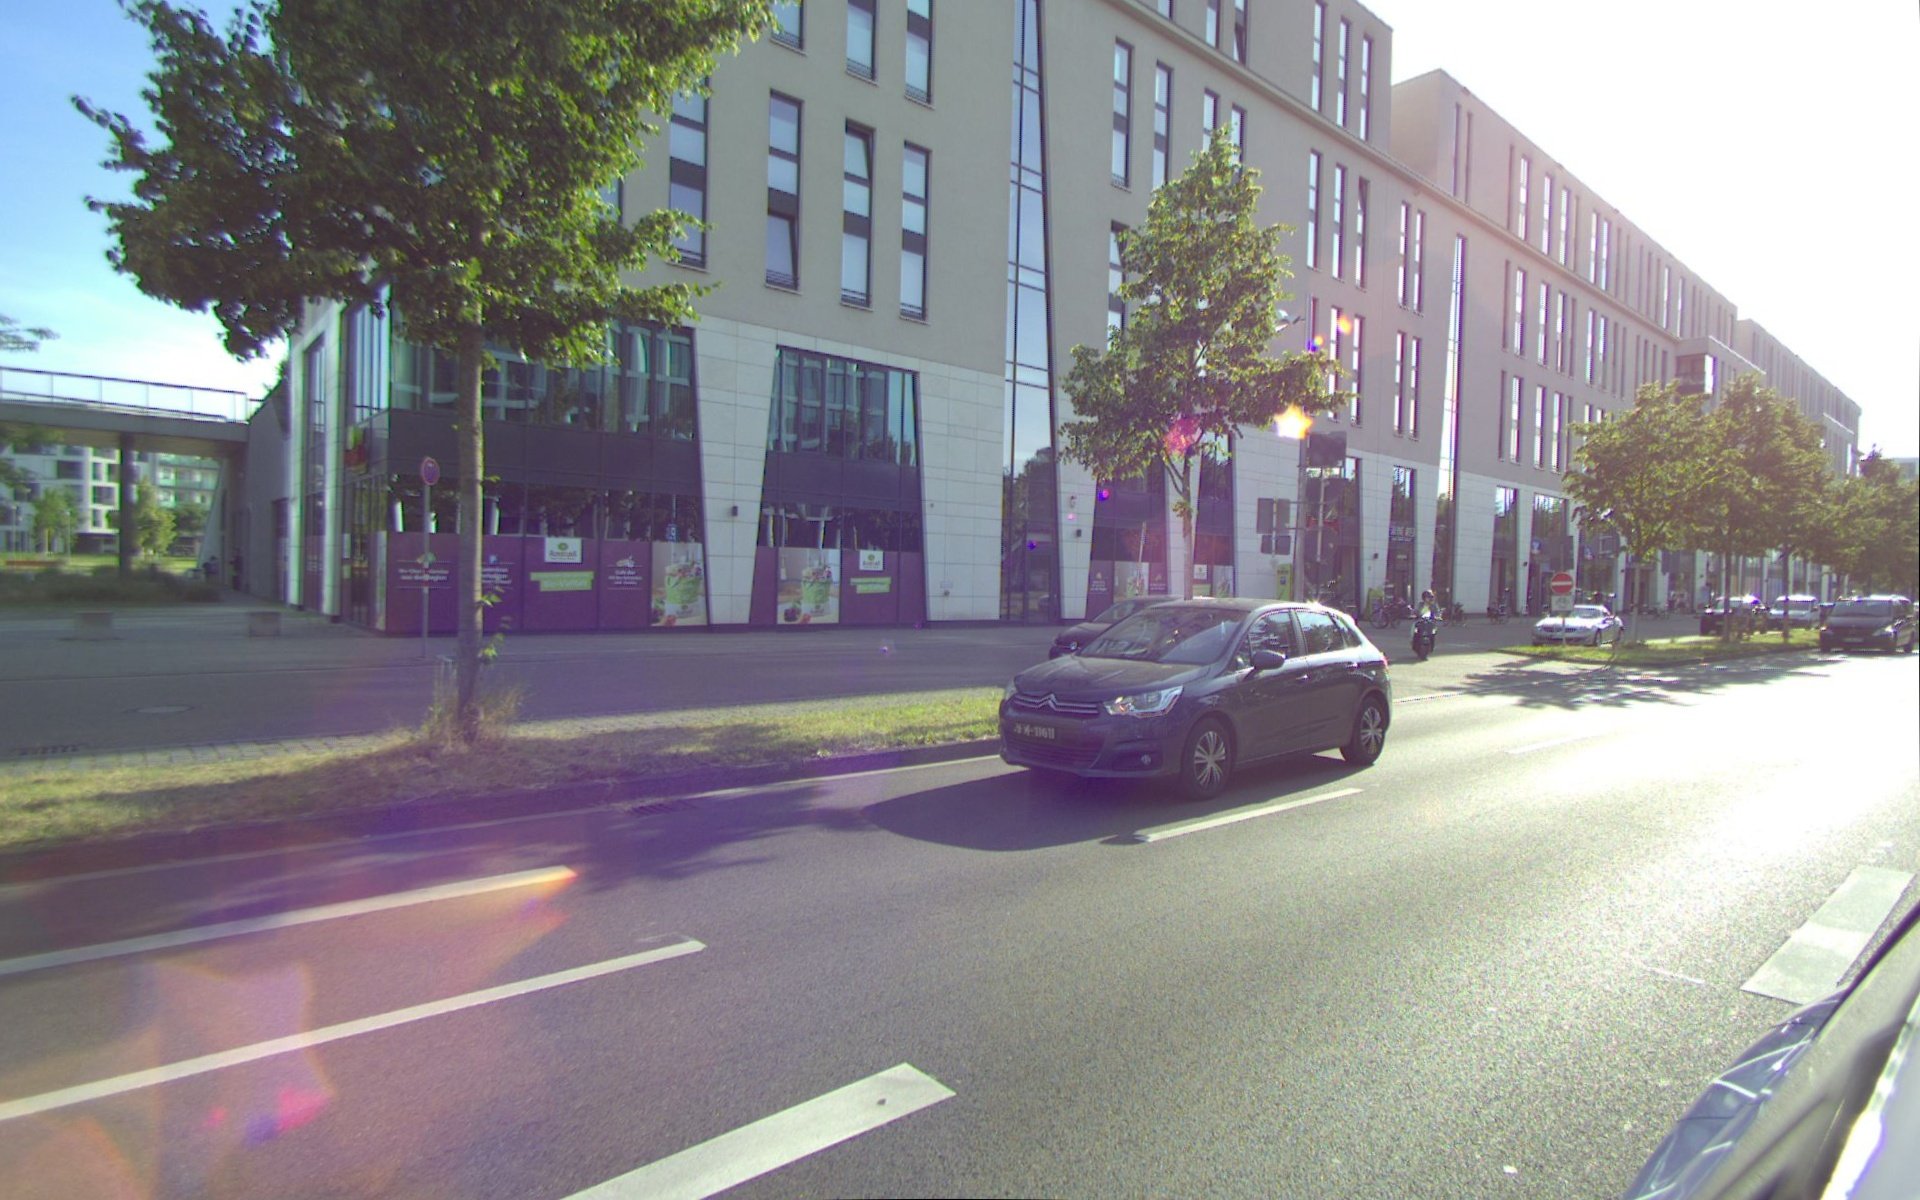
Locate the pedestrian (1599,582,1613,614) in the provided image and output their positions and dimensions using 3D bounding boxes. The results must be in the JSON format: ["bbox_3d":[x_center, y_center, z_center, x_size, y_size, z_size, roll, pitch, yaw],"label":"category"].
[{"bbox_3d":[36.418,-0.094,57.050,0.635,1.785,0.538,0,0,-40],"label":"pedestrian"}]

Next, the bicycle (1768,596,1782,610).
[{"bbox_3d":[64.419,0.218,79.974,2.008,1.012,0.419,-1,5,-40],"label":"bicycle"}]

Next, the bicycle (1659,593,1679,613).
[{"bbox_3d":[42.692,0.182,60.941,1.911,1.130,0.493,-1,2,-41],"label":"bicycle"}]

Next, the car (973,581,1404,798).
[{"bbox_3d":[2.124,0.568,8.717,3.971,1.442,1.696,-1,1,-43],"label":"car"}]

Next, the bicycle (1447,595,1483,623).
[{"bbox_3d":[21.110,0.360,42.283,1.871,1.097,0.635,0,2,-40],"label":"bicycle"}]

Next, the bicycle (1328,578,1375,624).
[{"bbox_3d":[14.043,0.019,36.264,2.236,1.590,0.557,-1,3,-40],"label":"bicycle"}]

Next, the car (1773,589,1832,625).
[{"bbox_3d":[43.398,0.324,52.086,4.224,1.733,1.829,-1,1,-43],"label":"car"}]

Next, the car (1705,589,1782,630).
[{"bbox_3d":[34.207,0.403,44.148,4.598,1.730,1.899,1,0,-43],"label":"car"}]

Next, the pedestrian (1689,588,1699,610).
[{"bbox_3d":[51.584,-0.080,71.100,0.536,1.594,0.509,0,0,34],"label":"pedestrian"}]

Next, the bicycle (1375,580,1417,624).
[{"bbox_3d":[16.458,0.061,38.194,2.174,1.587,0.556,-1,1,-40],"label":"bicycle"}]

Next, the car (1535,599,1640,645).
[{"bbox_3d":[19.149,0.619,30.836,3.838,1.258,1.710,-1,1,-42],"label":"car"}]

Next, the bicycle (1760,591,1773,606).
[{"bbox_3d":[61.766,-0.091,77.521,1.702,1.094,0.345,-1,5,-40],"label":"bicycle"}]

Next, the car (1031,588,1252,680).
[{"bbox_3d":[3.182,0.491,17.256,4.087,1.387,1.608,-1,1,-43],"label":"car"}]

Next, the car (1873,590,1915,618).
[{"bbox_3d":[66.678,0.258,72.220,4.946,1.899,1.840,-1,1,-43],"label":"car"}]

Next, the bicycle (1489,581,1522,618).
[{"bbox_3d":[24.345,-0.030,45.171,2.174,1.639,0.556,-1,1,-40],"label":"bicycle"}]

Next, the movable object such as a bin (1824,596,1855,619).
[{"bbox_3d":[50.250,0.432,57.826,1.159,1.307,1.278,0,0,-44],"label":"movable object such as a bin"}]

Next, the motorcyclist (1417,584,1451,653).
[{"bbox_3d":[11.708,0.449,25.005,0.411,1.660,0.624,0,2,-44],"label":"motorcyclist"}]

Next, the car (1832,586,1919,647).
[{"bbox_3d":[30.850,0.492,33.933,4.738,1.915,1.802,-1,1,-41],"label":"car"}]

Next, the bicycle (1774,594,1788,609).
[{"bbox_3d":[66.468,0.130,81.886,2.071,1.112,0.420,-1,5,-40],"label":"bicycle"}]

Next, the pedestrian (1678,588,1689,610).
[{"bbox_3d":[51.088,-0.067,71.482,0.587,1.541,0.514,0,0,-41],"label":"pedestrian"}]

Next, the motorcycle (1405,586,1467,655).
[{"bbox_3d":[11.760,0.466,24.990,1.978,1.638,0.701,-1,1,-43],"label":"motorcycle"}]
